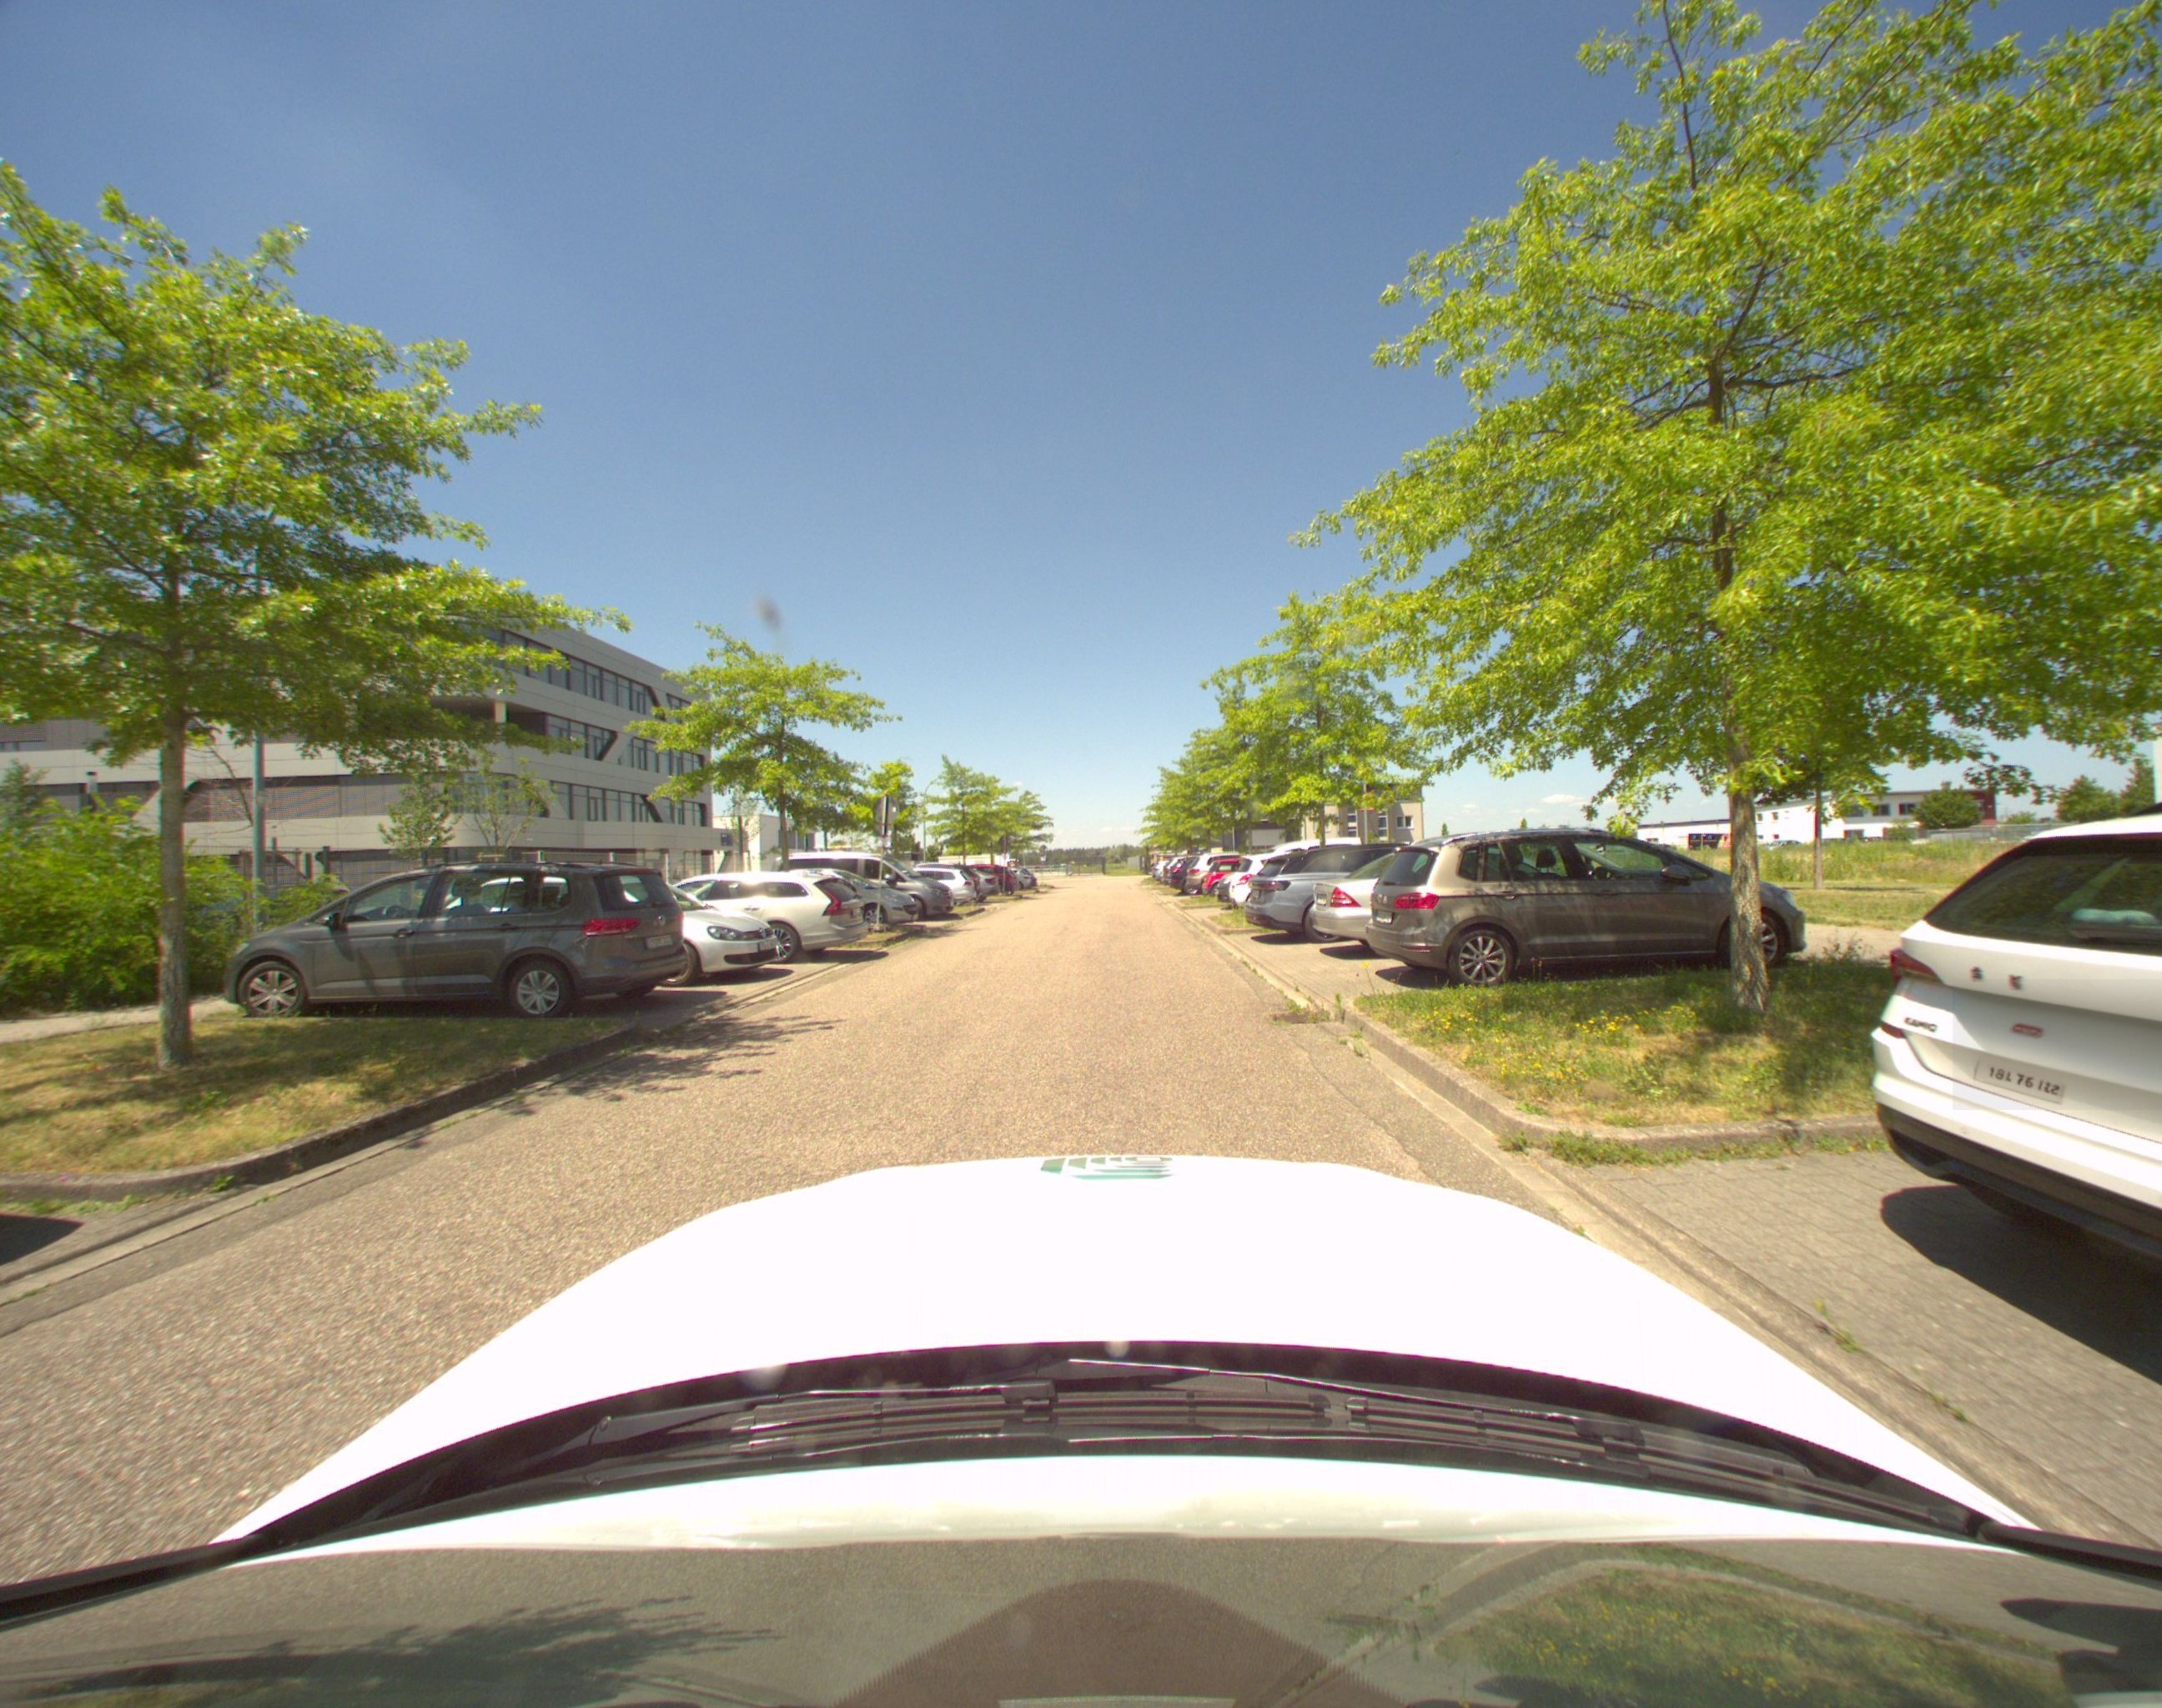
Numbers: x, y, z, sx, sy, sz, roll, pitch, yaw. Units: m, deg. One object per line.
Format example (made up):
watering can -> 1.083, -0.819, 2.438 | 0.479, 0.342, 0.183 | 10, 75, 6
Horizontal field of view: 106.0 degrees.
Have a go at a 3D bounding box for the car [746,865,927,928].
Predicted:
car -> -6.050, 1.034, 20.476 | 3.953, 1.484, 1.764 | 0, -1, 2

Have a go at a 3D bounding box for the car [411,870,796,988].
car -> -6.430, 0.980, 11.326 | 4.297, 1.473, 1.727 | 0, 0, -1

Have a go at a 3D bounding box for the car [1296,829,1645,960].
car -> 5.255, 0.539, 11.395 | 4.031, 1.453, 1.646 | -4, -1, 2

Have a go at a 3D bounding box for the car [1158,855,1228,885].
car -> 6.862, 0.986, 50.156 | 4.052, 1.608, 1.902 | -3, -2, 2

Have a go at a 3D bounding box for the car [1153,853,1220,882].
car -> 7.092, 0.924, 55.215 | 4.263, 1.644, 1.851 | -4, -1, 2

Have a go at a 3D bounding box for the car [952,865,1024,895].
car -> -4.935, 1.374, 43.407 | 3.647, 1.508, 1.730 | 0, -1, -2

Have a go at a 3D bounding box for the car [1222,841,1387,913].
car -> 5.478, 0.568, 20.327 | 3.617, 1.503, 1.677 | -4, -1, 2

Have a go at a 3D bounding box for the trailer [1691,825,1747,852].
trailer -> 66.333, -1.576, 84.696 | 3.974, 2.600, 2.233 | -2, -1, 0

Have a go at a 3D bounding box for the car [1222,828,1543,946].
car -> 4.981, 0.528, 13.910 | 4.704, 1.561, 1.912 | -4, -1, -2

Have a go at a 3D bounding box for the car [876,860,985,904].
car -> -5.868, 1.078, 32.146 | 3.978, 1.678, 1.775 | 0, -1, -3

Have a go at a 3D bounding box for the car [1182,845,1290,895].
car -> 5.992, 0.626, 31.843 | 3.860, 1.678, 1.783 | -4, -1, 2

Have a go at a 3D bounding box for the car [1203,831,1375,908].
car -> 5.814, 0.435, 23.196 | 4.385, 1.830, 1.797 | -4, -1, 2

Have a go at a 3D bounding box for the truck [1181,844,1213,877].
truck -> 14.224, 0.806, 100.400 | 2.911, 3.929, 6.937 | -2, -1, 1

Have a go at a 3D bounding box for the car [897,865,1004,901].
car -> -5.473, 1.216, 34.538 | 4.177, 1.480, 1.713 | 0, -1, 2

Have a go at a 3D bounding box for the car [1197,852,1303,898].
car -> 6.087, 0.747, 29.613 | 3.445, 1.417, 1.755 | -4, -1, 1

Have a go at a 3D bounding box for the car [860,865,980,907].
car -> -5.744, 1.150, 29.376 | 4.025, 1.461, 1.603 | 0, -1, -1

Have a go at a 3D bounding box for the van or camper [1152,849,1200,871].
van or camper -> 10.330, 0.644, 88.551 | 4.919, 2.163, 2.000 | -2, 0, 1

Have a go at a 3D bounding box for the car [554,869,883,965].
car -> -5.931, 1.006, 13.773 | 4.700, 1.447, 1.856 | 0, 0, -2

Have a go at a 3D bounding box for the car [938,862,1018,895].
car -> -5.124, 1.211, 40.797 | 3.723, 1.621, 1.817 | 0, -1, 2

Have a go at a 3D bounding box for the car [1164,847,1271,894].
car -> 5.739, 0.706, 34.558 | 4.159, 1.696, 1.782 | -4, -1, 0

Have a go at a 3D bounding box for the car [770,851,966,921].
car -> -6.013, 0.893, 23.416 | 5.048, 1.892, 1.999 | -1, -1, 3

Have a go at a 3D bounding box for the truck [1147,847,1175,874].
truck -> 9.404, 0.785, 96.337 | 2.717, 3.062, 6.937 | -2, -1, 1

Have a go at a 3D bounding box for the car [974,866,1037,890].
car -> -4.844, 1.554, 52.689 | 3.916, 1.521, 1.784 | 0, -1, -1

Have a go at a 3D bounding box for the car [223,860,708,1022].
car -> -6.642, 0.890, 9.129 | 4.103, 1.634, 1.728 | 0, 0, 1

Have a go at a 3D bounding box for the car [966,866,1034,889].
car -> -4.948, 1.445, 50.226 | 4.065, 1.424, 1.872 | 0, -1, -2

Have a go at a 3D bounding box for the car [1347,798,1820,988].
car -> 5.225, 0.403, 8.900 | 4.031, 1.625, 1.694 | -4, -1, 2

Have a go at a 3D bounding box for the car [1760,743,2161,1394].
car -> 4.495, 0.419, 2.109 | 3.814, 1.553, 1.783 | -3, 0, 7

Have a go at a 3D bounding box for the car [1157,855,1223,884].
car -> 7.029, 1.018, 52.780 | 3.973, 1.644, 1.838 | -3, -1, 1

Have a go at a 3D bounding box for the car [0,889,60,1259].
car -> -6.565, 0.915, 2.728 | 4.154, 1.513, 1.809 | 0, 0, 3

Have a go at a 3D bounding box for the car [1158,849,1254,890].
car -> 6.224, 0.769, 40.860 | 4.435, 1.768, 1.992 | -3, -1, -1
